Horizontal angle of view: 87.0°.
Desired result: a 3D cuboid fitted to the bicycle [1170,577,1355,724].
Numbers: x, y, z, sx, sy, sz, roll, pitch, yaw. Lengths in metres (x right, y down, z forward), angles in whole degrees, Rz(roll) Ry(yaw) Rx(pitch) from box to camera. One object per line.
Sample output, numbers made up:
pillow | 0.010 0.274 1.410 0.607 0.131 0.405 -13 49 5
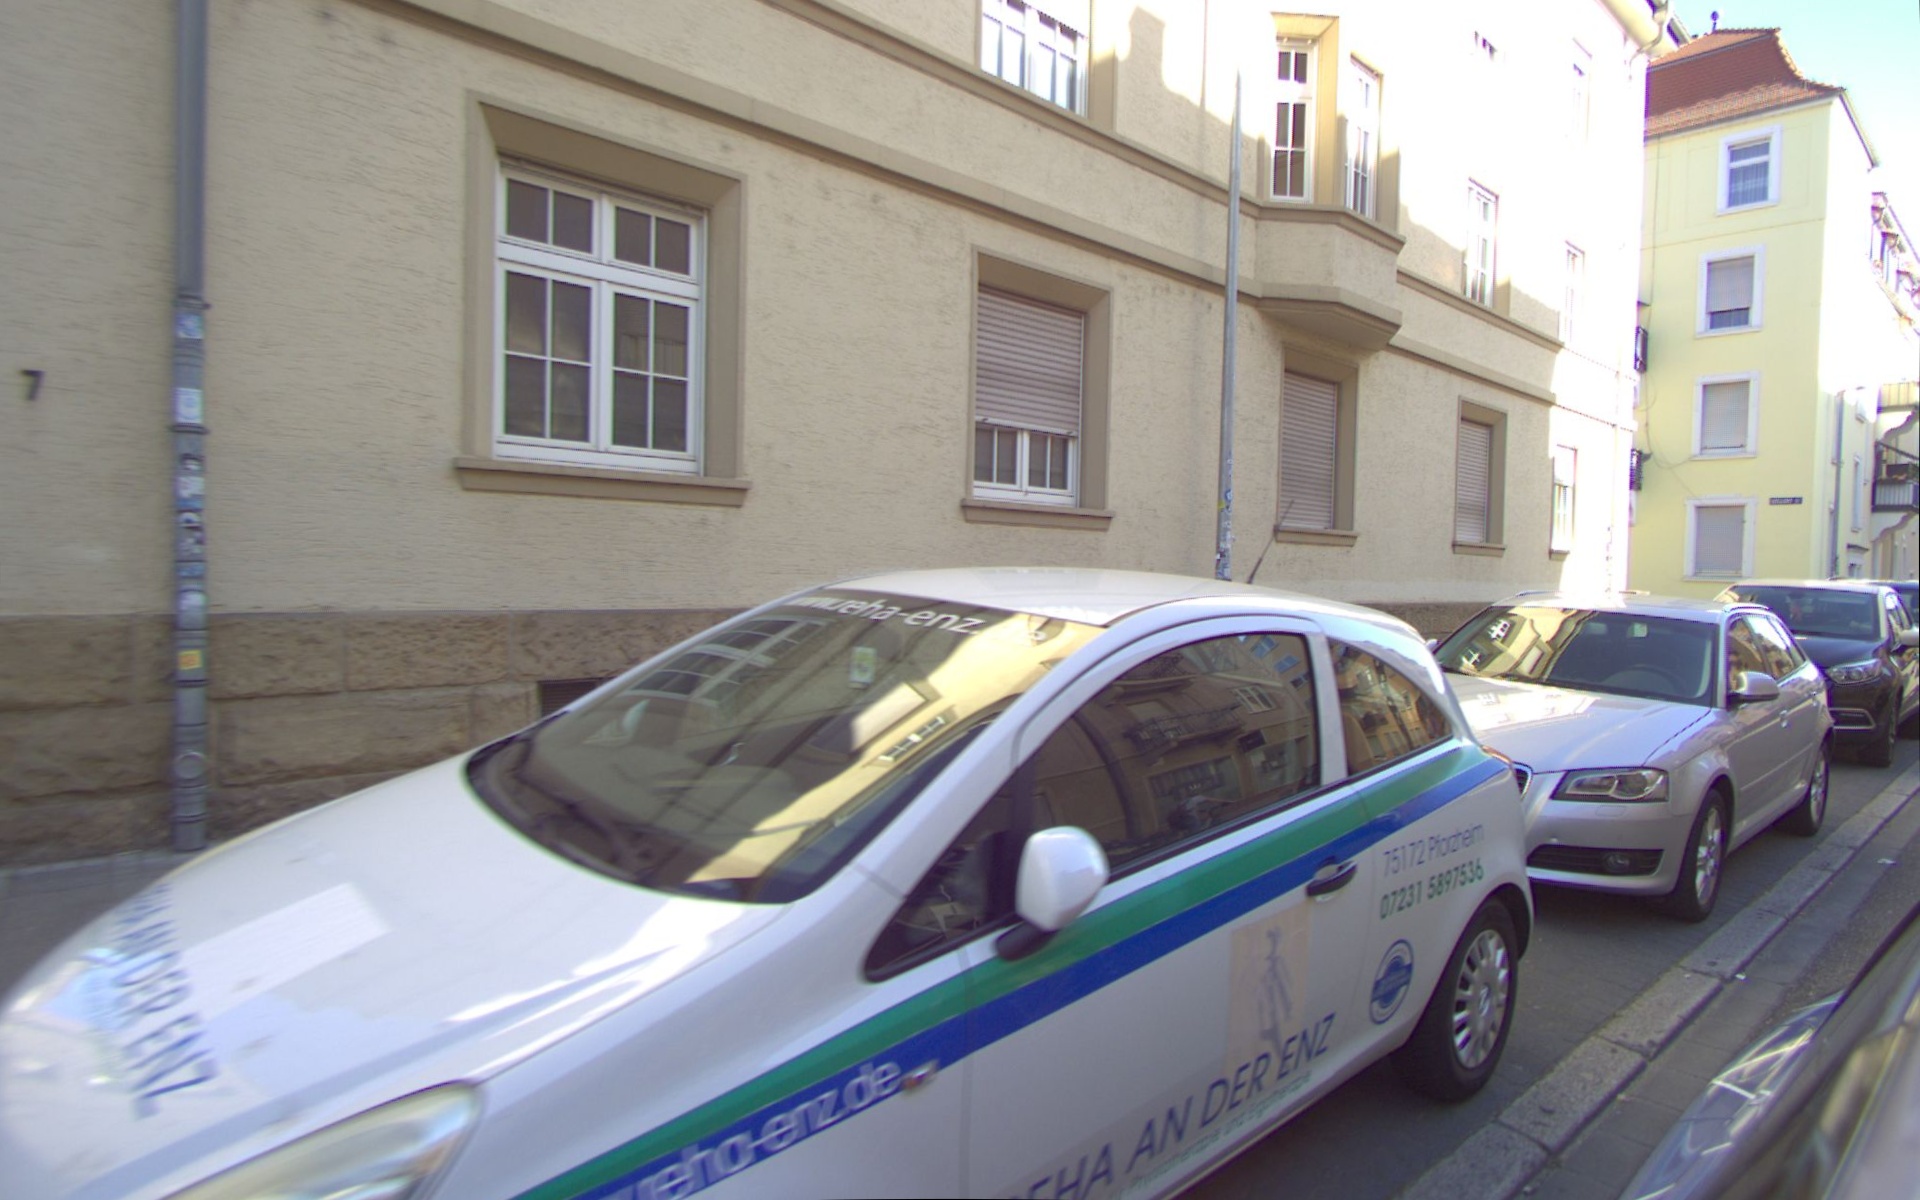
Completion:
bicycle | 2.864 0.415 9.463 0.830 1.215 1.925 3 2 44

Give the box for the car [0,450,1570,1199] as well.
car | -0.081 0.592 2.381 3.648 1.482 1.588 0 3 -42

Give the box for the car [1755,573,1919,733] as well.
car | 11.686 0.570 12.646 4.354 1.685 1.791 0 2 -39

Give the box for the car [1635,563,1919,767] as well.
car | 8.300 0.501 9.910 3.844 1.565 1.685 0 3 -39

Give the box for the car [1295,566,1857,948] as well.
car | 3.819 0.607 5.969 4.023 1.482 1.656 0 3 -41
